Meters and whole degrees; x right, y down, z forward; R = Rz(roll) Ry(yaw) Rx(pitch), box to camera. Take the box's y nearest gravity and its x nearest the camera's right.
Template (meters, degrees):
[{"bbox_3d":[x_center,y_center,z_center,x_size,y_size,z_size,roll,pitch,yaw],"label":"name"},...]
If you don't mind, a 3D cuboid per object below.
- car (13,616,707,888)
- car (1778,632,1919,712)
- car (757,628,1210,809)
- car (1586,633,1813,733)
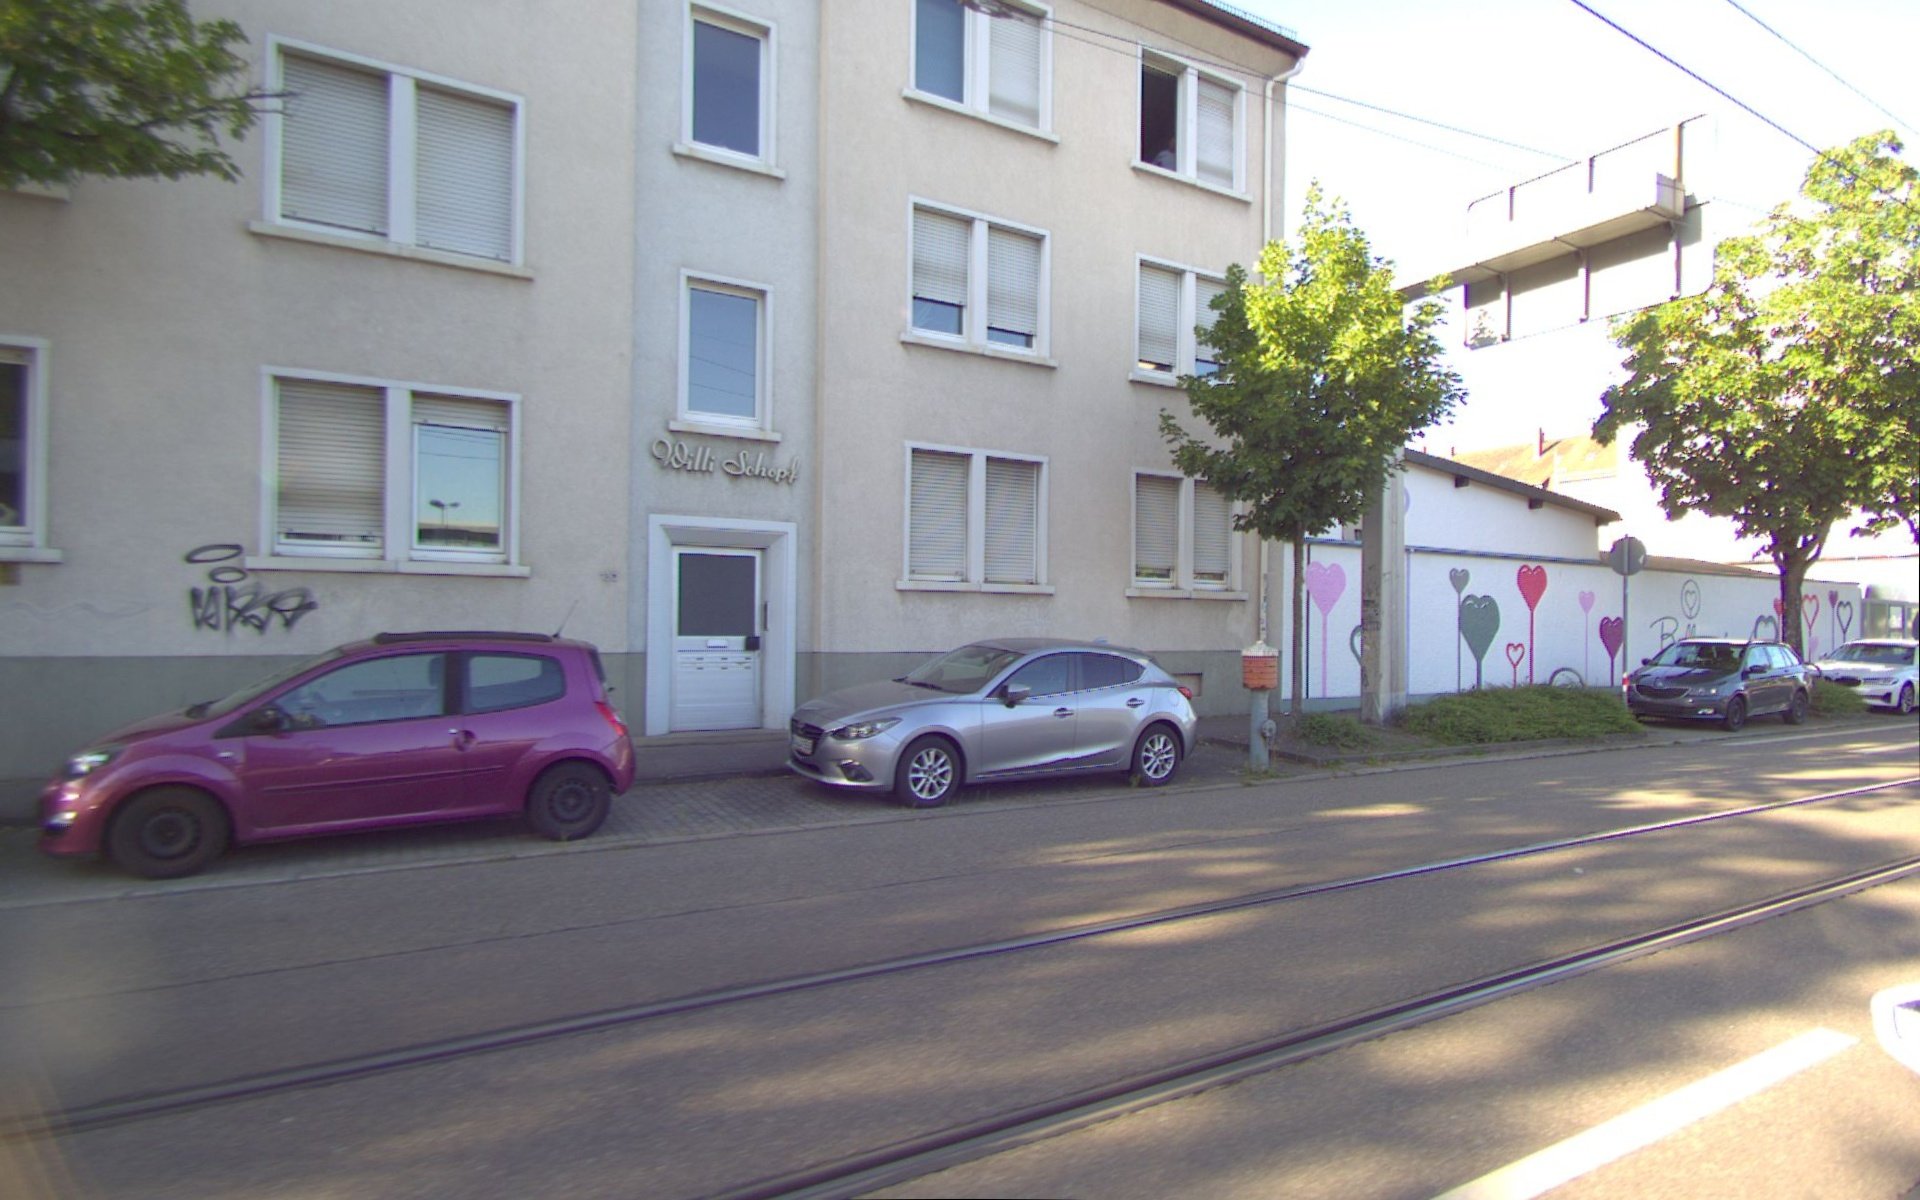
[{"bbox_3d":[-4.046,0.932,7.399,3.953,1.525,1.564,2,-1,-30],"label":"car"},{"bbox_3d":[19.896,1.517,21.786,4.607,1.510,1.855,2,-1,-31],"label":"car"},{"bbox_3d":[0.299,1.060,10.187,4.242,1.448,1.864,2,-1,-30],"label":"car"},{"bbox_3d":[13.038,1.385,17.655,4.257,1.505,1.763,2,-1,-32],"label":"car"}]
